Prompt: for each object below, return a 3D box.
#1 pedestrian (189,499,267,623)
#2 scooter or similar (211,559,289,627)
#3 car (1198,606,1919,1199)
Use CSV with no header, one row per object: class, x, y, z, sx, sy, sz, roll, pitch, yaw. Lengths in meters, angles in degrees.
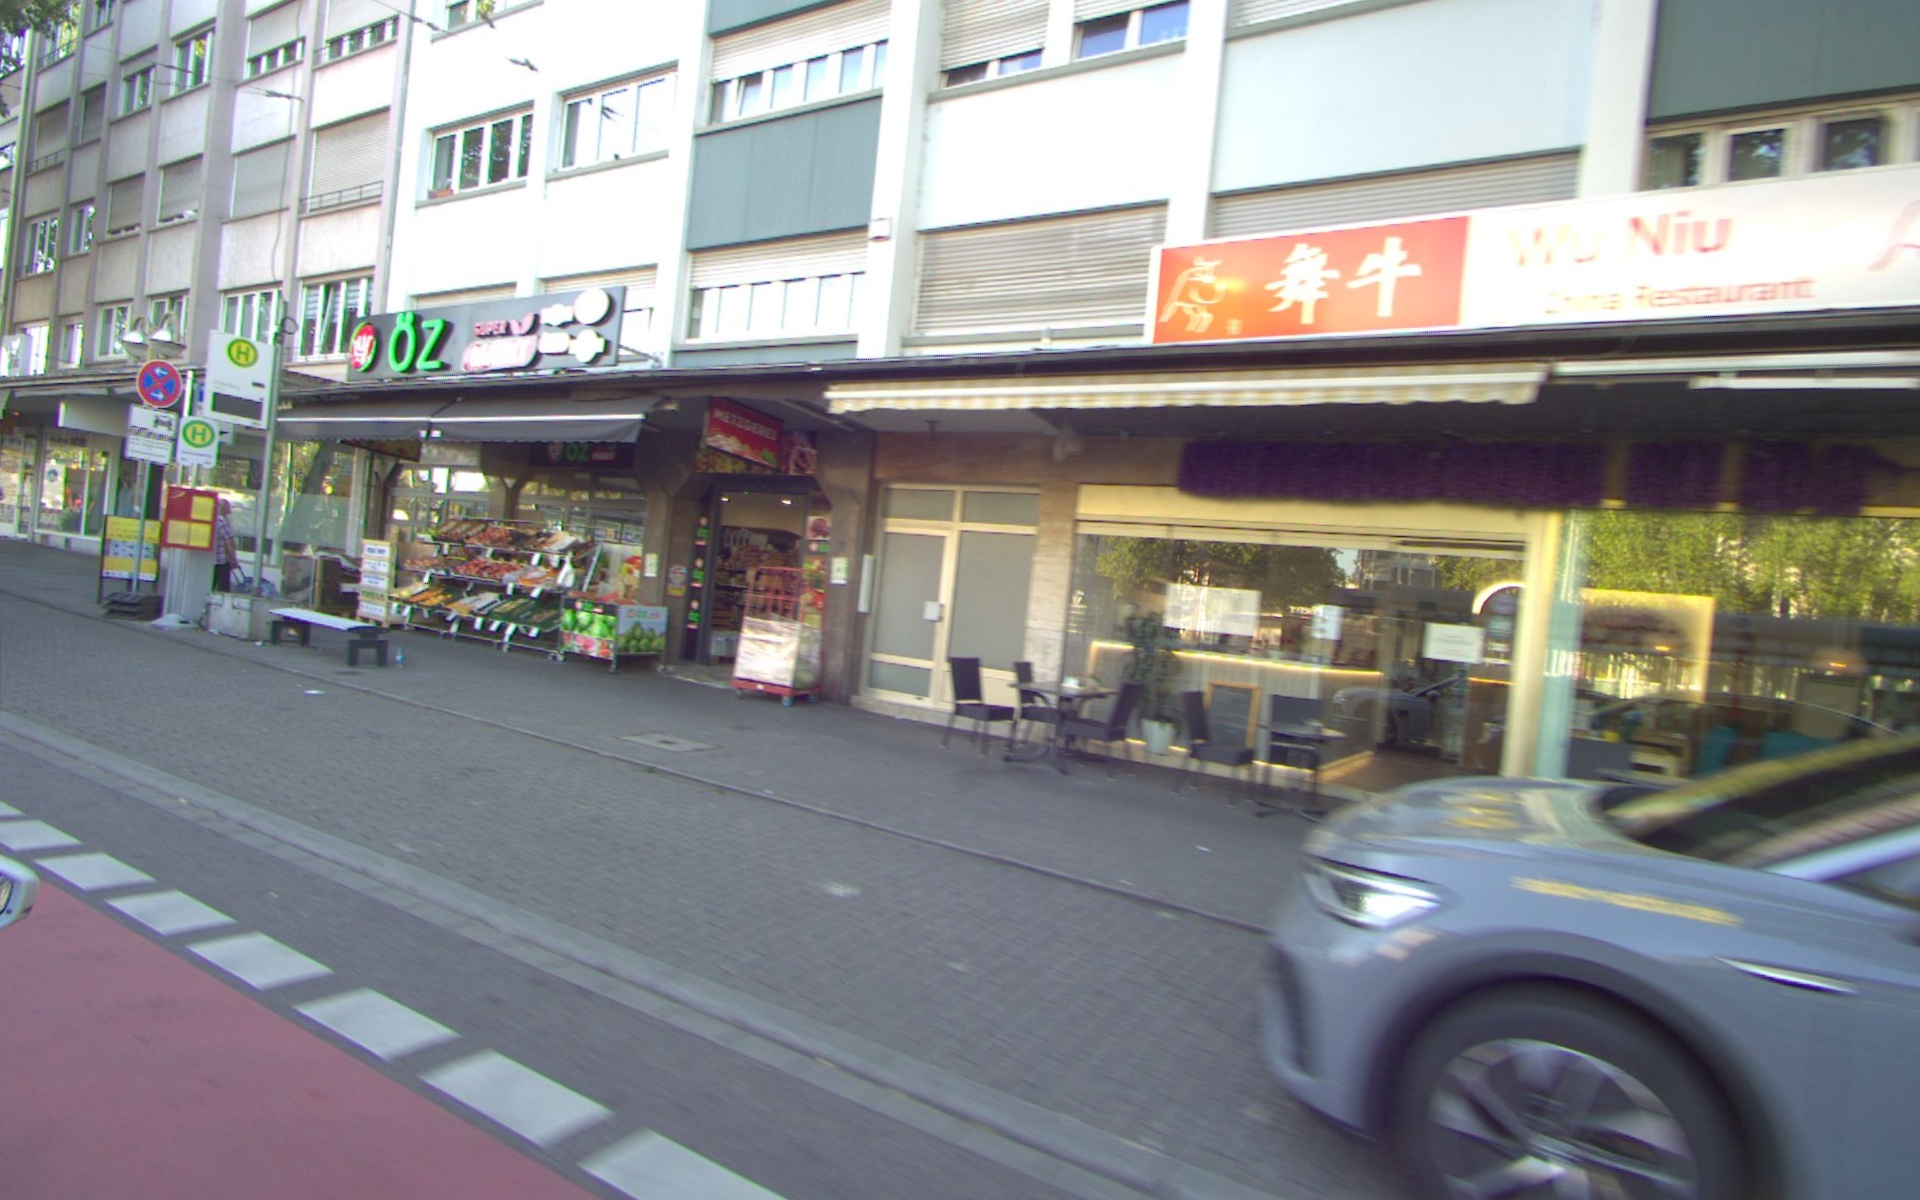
pedestrian,-10.517,-0.553,14.454,0.547,1.694,0.645,7,0,38
scooter or similar,-9.970,-0.094,14.137,0.721,0.854,0.576,6,0,29
car,3.259,1.103,2.561,4.708,1.618,1.920,7,1,28
